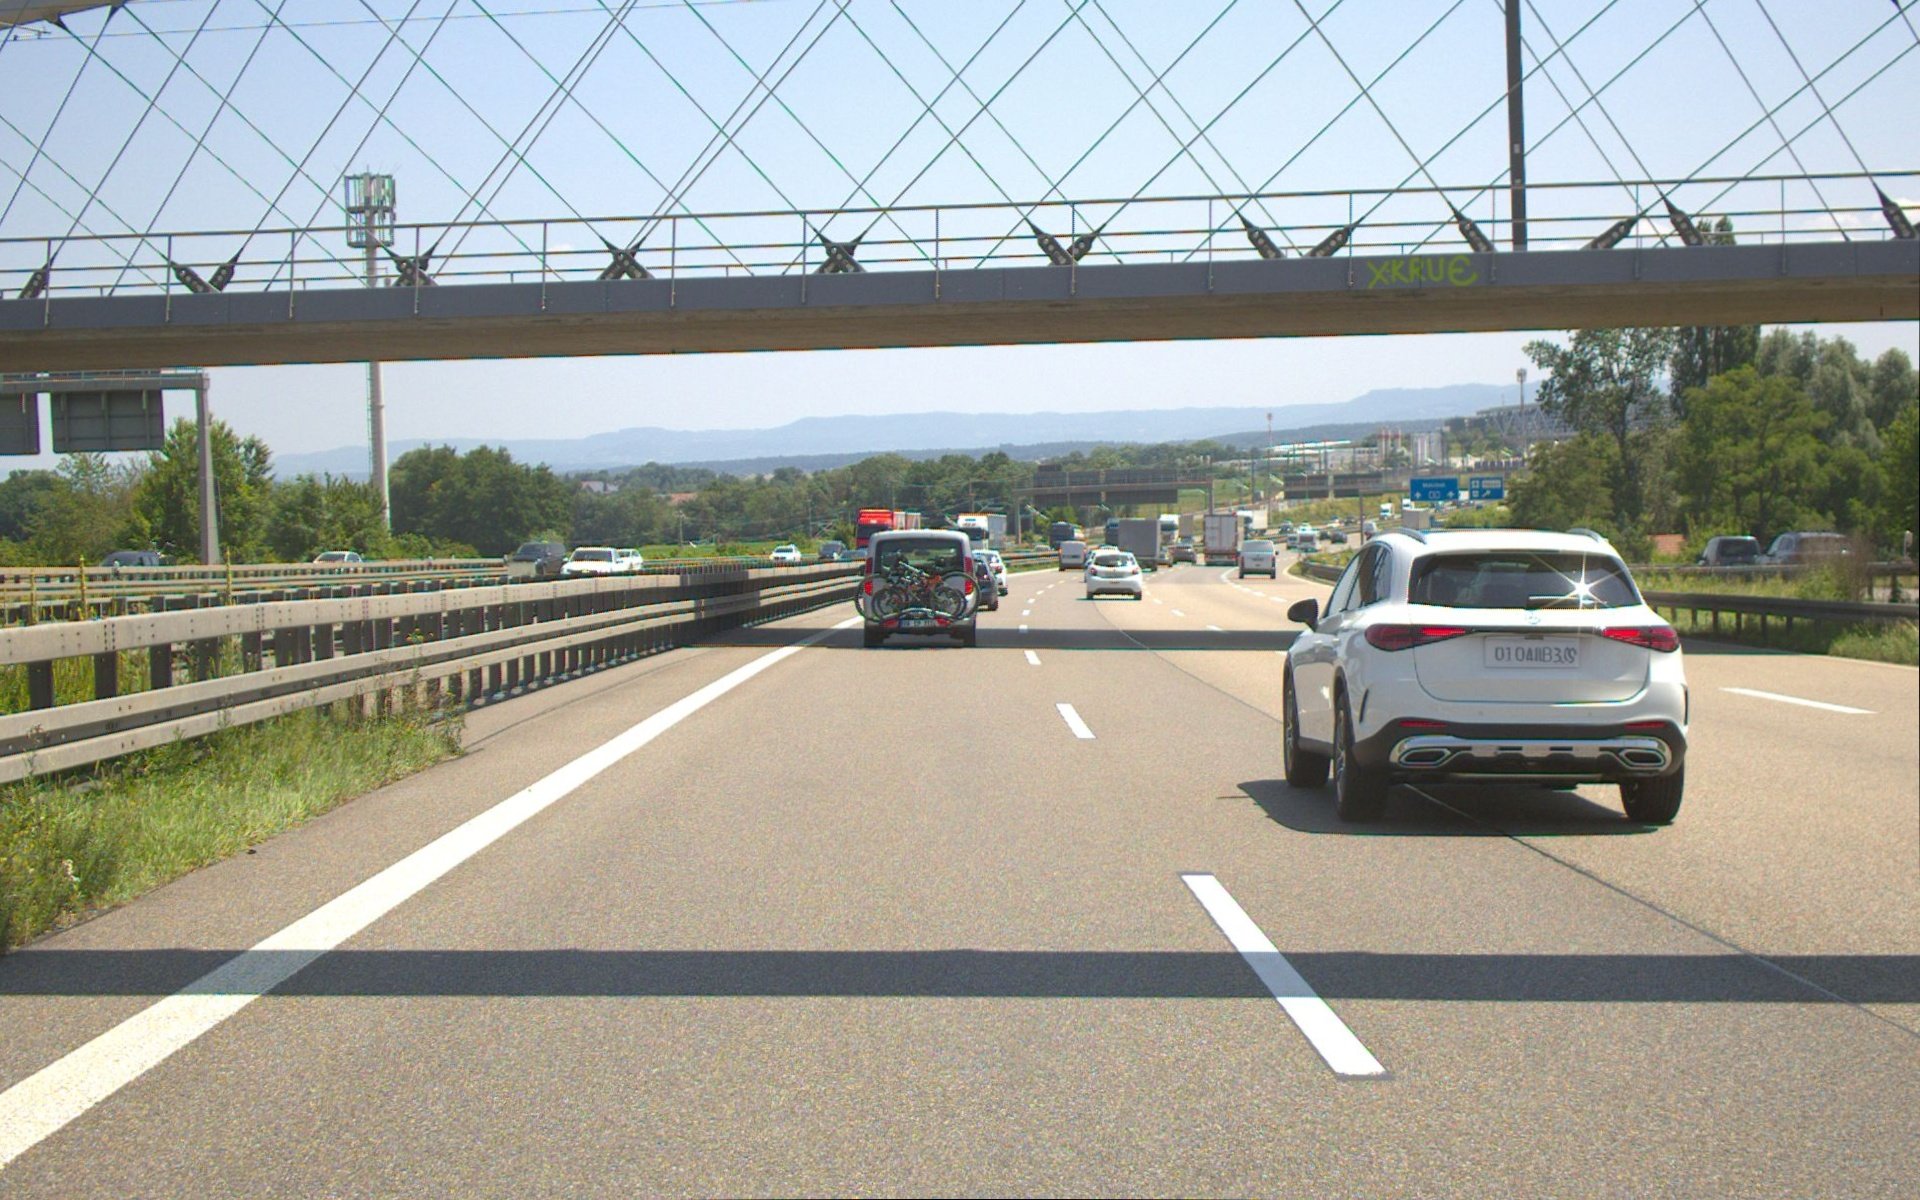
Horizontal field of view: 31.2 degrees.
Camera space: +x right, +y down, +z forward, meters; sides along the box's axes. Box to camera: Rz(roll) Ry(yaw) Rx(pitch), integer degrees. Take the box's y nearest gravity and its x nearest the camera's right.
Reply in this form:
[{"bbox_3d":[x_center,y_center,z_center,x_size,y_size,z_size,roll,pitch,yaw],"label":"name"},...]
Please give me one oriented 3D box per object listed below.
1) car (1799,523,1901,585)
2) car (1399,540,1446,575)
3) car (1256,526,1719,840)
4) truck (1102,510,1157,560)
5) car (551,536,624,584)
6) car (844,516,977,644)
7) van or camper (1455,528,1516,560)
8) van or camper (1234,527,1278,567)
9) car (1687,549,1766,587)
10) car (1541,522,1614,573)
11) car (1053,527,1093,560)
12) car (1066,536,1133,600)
[{"bbox_3d":[23.358,-1.208,90.363,1.699,1.569,4.128,1,1,1],"label":"car"},{"bbox_3d":[27.444,-2.523,204.081,1.993,2.007,4.001,0,1,-3],"label":"car"},{"bbox_3d":[2.993,0.409,20.603,1.898,1.641,4.999,0,1,-1],"label":"car"},{"bbox_3d":[10.740,-4.102,218.653,2.702,3.098,10.660,0,1,-1],"label":"truck"},{"bbox_3d":[-12.974,-1.418,120.026,1.928,1.633,4.977,0,1,1],"label":"car"},{"bbox_3d":[-0.738,-0.333,54.269,1.926,1.912,4.948,1,1,1],"label":"car"},{"bbox_3d":[33.504,-3.541,219.295,2.528,2.007,4.462,0,1,-10],"label":"van or camper"},{"bbox_3d":[15.300,-2.751,178.091,2.156,2.007,4.304,1,1,4],"label":"van or camper"},{"bbox_3d":[26.198,-1.094,117.598,1.699,1.273,4.000,0,1,-1],"label":"car"},{"bbox_3d":[23.779,-2.031,132.510,1.939,1.917,4.179,0,1,-1],"label":"car"},{"bbox_3d":[7.067,-3.528,215.708,2.186,1.996,4.000,0,1,-2],"label":"car"},{"bbox_3d":[4.271,-0.994,105.922,1.926,1.912,4.518,1,1,1],"label":"car"}]
